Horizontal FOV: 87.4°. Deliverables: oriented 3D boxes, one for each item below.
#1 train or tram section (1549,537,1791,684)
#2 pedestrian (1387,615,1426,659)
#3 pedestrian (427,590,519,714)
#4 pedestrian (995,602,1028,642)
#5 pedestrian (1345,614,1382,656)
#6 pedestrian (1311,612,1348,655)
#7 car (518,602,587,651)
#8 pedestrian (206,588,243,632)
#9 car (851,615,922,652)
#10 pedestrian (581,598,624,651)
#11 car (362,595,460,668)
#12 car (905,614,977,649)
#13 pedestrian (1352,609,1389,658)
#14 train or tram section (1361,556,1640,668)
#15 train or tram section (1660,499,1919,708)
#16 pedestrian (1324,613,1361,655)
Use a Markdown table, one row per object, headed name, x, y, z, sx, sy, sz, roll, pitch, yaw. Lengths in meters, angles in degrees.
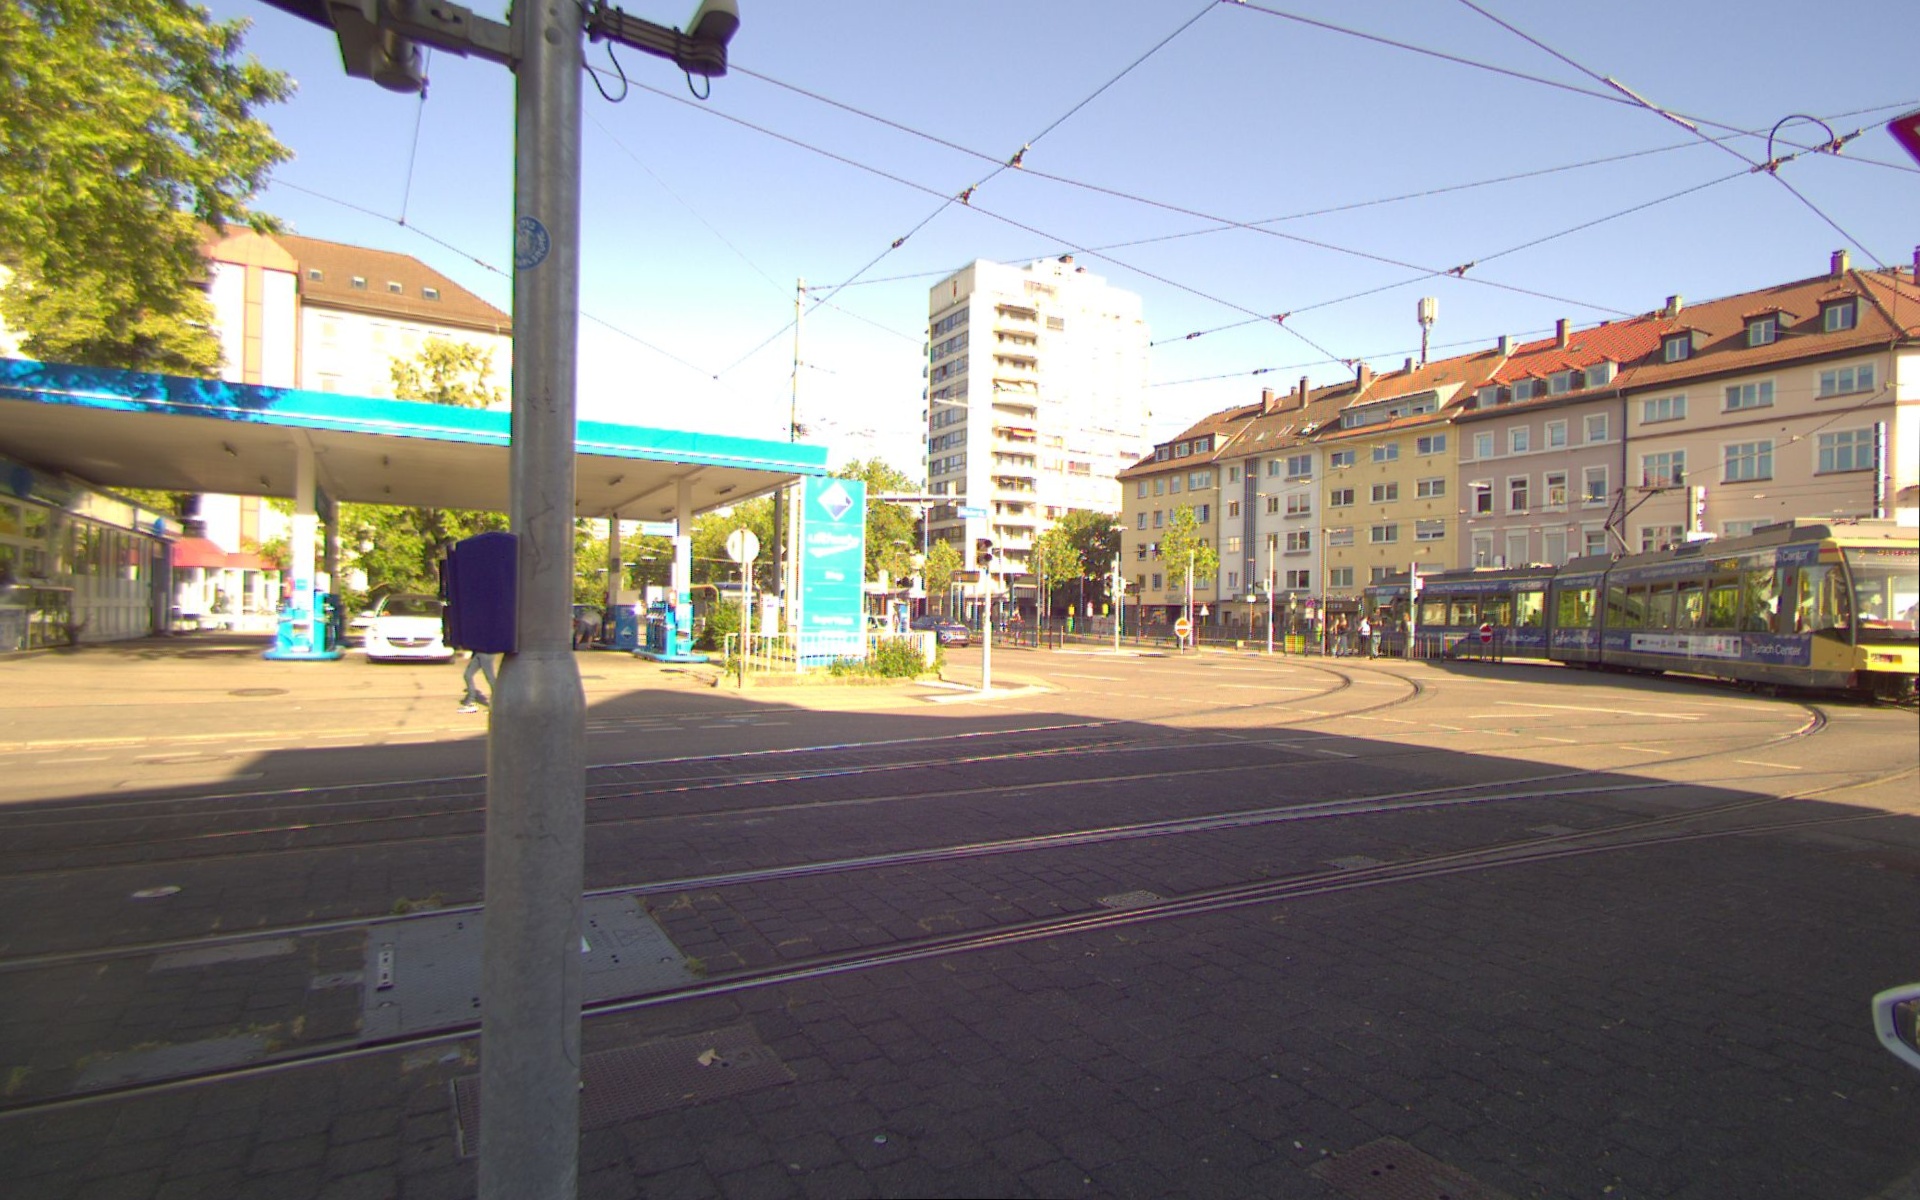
| name | x | y | z | sx | sy | sz | roll | pitch | yaw |
| --- | --- | --- | --- | --- | --- | --- | --- | --- | --- |
| train or tram section | 19.712 | 0.323 | 28.642 | 2.767 | 3.546 | 8.466 | 0 | -1 | 14 |
| pedestrian | 16.614 | 1.373 | 37.361 | 0.924 | 1.619 | 1.008 | 1 | -1 | -8 |
| pedestrian | -6.697 | 0.723 | 13.819 | 1.093 | 1.640 | 0.711 | 1 | -5 | -29 |
| pedestrian | 2.496 | 1.073 | 48.642 | 1.156 | 1.870 | 1.098 | 2 | -1 | -28 |
| pedestrian | 15.753 | 1.357 | 39.253 | 0.925 | 1.619 | 1.007 | 1 | -1 | -13 |
| pedestrian | 14.213 | 1.282 | 38.692 | 0.992 | 1.619 | 0.939 | 1 | -1 | -13 |
| car | -13.444 | 0.841 | 33.017 | 1.725 | 1.431 | 4.061 | 5 | -2 | -26 |
| pedestrian | -32.061 | 0.439 | 43.791 | 1.165 | 1.853 | 1.051 | 1 | -1 | -30 |
| car | -3.470 | 1.531 | 46.739 | 1.863 | 1.601 | 3.971 | 1 | -1 | -28 |
| pedestrian | -11.401 | 0.778 | 32.053 | 1.142 | 1.647 | 0.811 | 1 | -1 | -8 |
| car | -12.333 | 0.665 | 22.531 | 1.760 | 1.483 | 3.968 | 1 | -1 | -30 |
| car | -0.937 | 1.494 | 48.269 | 1.863 | 1.601 | 3.971 | 1 | -1 | -28 |
| pedestrian | 15.226 | 1.240 | 37.254 | 1.002 | 1.798 | 0.930 | 2 | -1 | -42 |
| train or tram section | 19.737 | 0.481 | 38.150 | 2.728 | 3.546 | 12.013 | 1 | -1 | -8 |
| train or tram section | 17.542 | 0.135 | 20.770 | 2.767 | 3.546 | 7.964 | 0 | -1 | 18 |
| pedestrian | 14.906 | 1.326 | 39.161 | 0.993 | 1.619 | 0.938 | 1 | -1 | -17 |
